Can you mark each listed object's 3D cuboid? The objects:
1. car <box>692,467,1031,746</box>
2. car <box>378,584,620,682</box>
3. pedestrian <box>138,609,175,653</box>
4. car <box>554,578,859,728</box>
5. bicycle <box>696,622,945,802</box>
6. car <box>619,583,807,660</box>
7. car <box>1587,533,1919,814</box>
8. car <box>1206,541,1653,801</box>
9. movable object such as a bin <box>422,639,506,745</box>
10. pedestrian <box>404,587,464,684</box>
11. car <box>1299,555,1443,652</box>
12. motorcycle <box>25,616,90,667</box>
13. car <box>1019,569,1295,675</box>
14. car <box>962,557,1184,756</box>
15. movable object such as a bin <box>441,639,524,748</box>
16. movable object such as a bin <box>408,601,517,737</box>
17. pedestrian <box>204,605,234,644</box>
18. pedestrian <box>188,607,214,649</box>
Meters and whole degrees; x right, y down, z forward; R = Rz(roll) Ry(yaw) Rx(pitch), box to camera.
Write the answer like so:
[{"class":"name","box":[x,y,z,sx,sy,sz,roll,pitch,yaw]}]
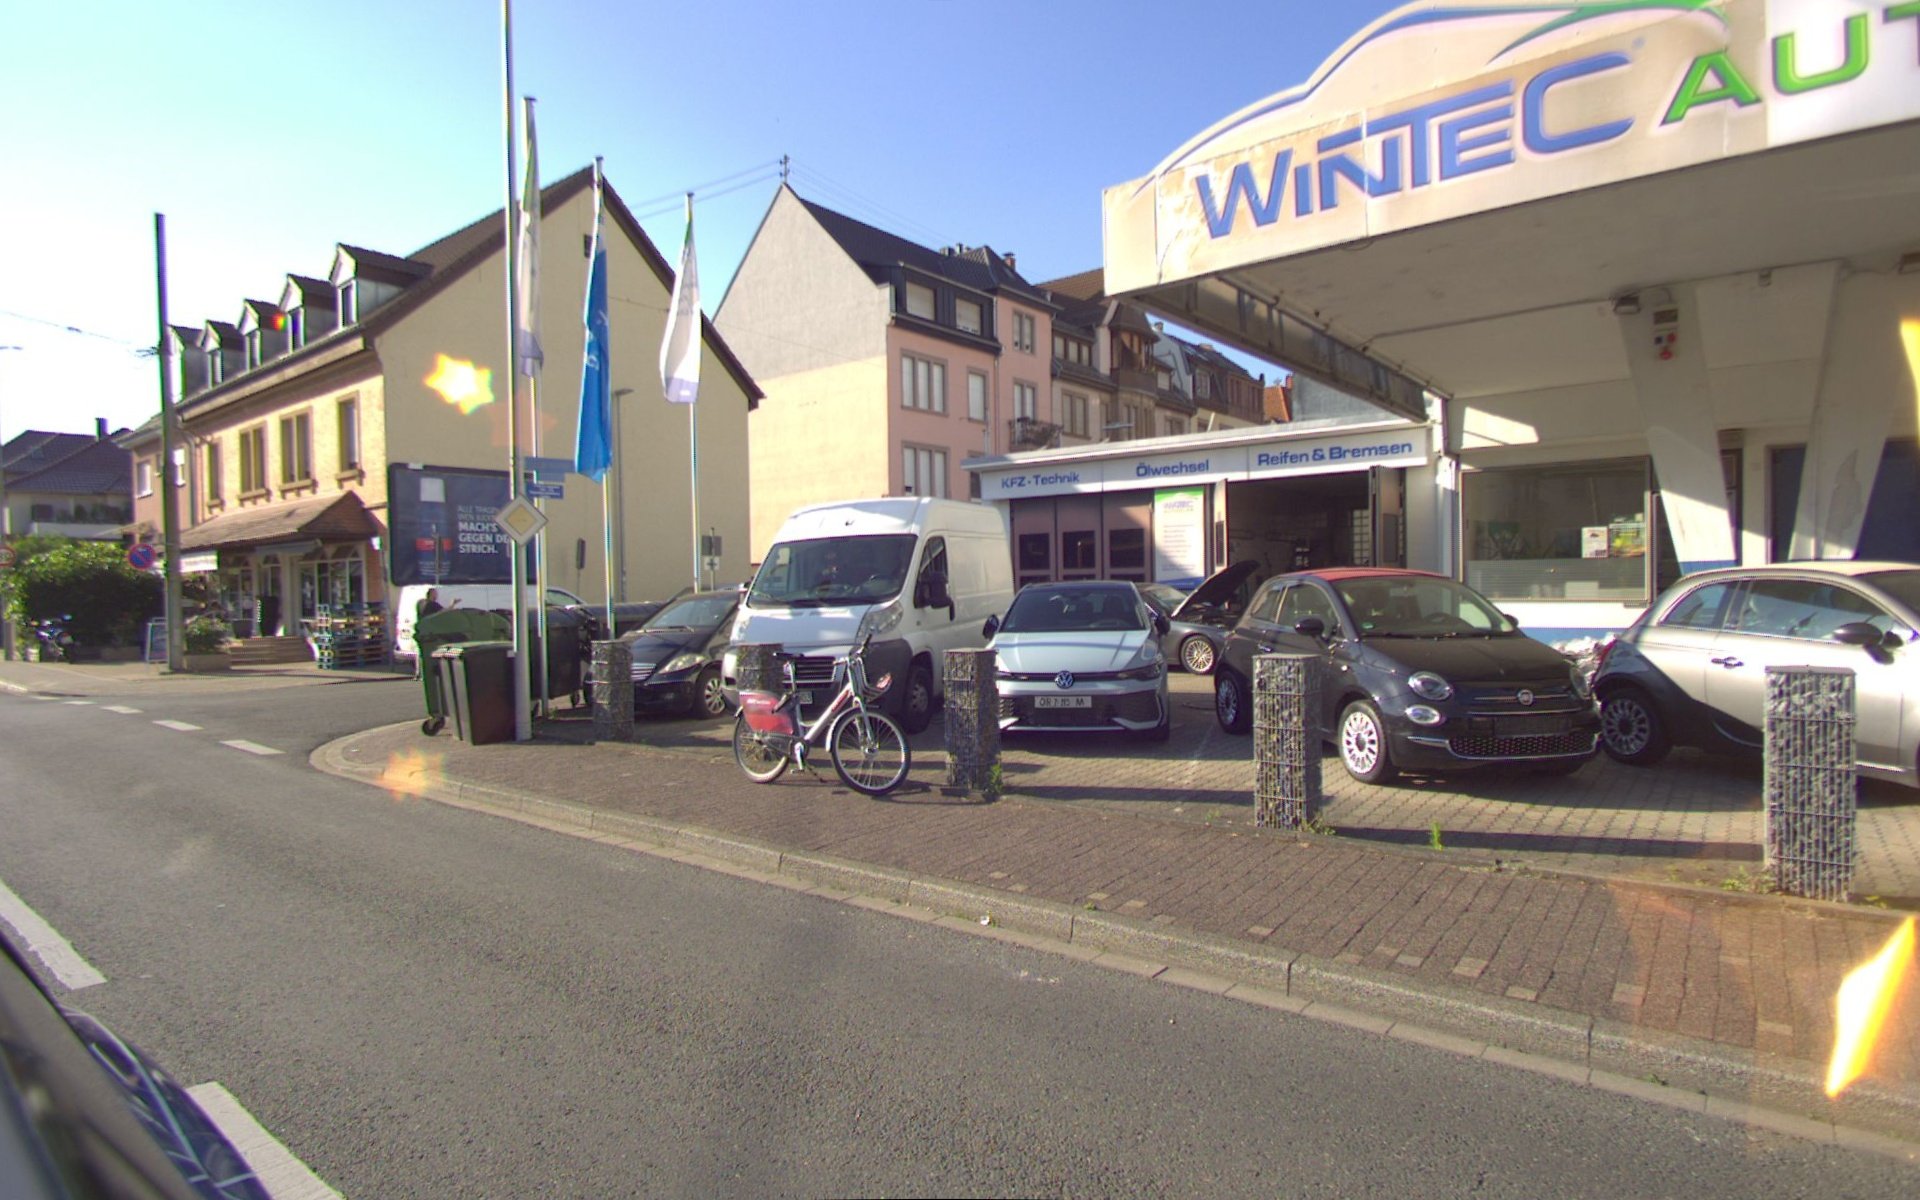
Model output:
[{"class":"car","box":[-0.794,0.011,11.756,2.091,2.488,5.044,-1,1,17]},{"class":"car","box":[-10.276,0.651,22.873,1.997,1.947,4.573,-1,0,37]},{"class":"pedestrian","box":[-24.024,0.918,30.264,0.666,1.253,0.737,-1,1,42]},{"class":"car","box":[-3.118,0.569,13.309,1.762,1.580,3.967,-2,1,25]},{"class":"bicycle","box":[-1.061,0.778,7.597,1.774,1.186,0.718,-1,1,30]},{"class":"car","box":[-6.629,0.507,27.721,1.995,1.909,4.917,-1,0,35]},{"class":"car","box":[6.039,0.389,6.385,1.595,1.580,3.402,-2,1,-12]},{"class":"car","box":[3.378,0.415,8.031,1.596,1.580,3.399,-1,1,-8]},{"class":"movable object such as a bin","box":[-5.512,1.003,11.244,0.652,1.070,0.586,-5,1,-39]},{"class":"pedestrian","box":[-10.588,0.695,20.379,0.820,1.882,0.784,-1,0,41]},{"class":"car","box":[8.400,0.006,20.478,1.769,1.722,4.265,-2,1,35]},{"class":"motorcycle","box":[-24.619,1.108,27.597,2.228,1.291,0.832,0,2,36]},{"class":"car","box":[3.313,0.355,17.412,4.309,1.580,1.750,-2,1,38]},{"class":"car","box":[1.233,0.424,10.254,1.753,1.580,3.988,-2,1,10]},{"class":"movable object such as a bin","box":[-5.081,0.982,10.766,0.631,1.077,0.581,-3,-2,-39]},{"class":"movable object such as a bin","box":[-5.999,0.813,12.300,1.040,1.494,1.316,-3,-2,-23]},{"class":"pedestrian","box":[-21.694,0.708,29.629,0.632,1.118,0.557,-1,1,40]},{"class":"pedestrian","box":[-23.462,0.853,31.283,0.465,1.268,0.518,-1,1,40]}]
